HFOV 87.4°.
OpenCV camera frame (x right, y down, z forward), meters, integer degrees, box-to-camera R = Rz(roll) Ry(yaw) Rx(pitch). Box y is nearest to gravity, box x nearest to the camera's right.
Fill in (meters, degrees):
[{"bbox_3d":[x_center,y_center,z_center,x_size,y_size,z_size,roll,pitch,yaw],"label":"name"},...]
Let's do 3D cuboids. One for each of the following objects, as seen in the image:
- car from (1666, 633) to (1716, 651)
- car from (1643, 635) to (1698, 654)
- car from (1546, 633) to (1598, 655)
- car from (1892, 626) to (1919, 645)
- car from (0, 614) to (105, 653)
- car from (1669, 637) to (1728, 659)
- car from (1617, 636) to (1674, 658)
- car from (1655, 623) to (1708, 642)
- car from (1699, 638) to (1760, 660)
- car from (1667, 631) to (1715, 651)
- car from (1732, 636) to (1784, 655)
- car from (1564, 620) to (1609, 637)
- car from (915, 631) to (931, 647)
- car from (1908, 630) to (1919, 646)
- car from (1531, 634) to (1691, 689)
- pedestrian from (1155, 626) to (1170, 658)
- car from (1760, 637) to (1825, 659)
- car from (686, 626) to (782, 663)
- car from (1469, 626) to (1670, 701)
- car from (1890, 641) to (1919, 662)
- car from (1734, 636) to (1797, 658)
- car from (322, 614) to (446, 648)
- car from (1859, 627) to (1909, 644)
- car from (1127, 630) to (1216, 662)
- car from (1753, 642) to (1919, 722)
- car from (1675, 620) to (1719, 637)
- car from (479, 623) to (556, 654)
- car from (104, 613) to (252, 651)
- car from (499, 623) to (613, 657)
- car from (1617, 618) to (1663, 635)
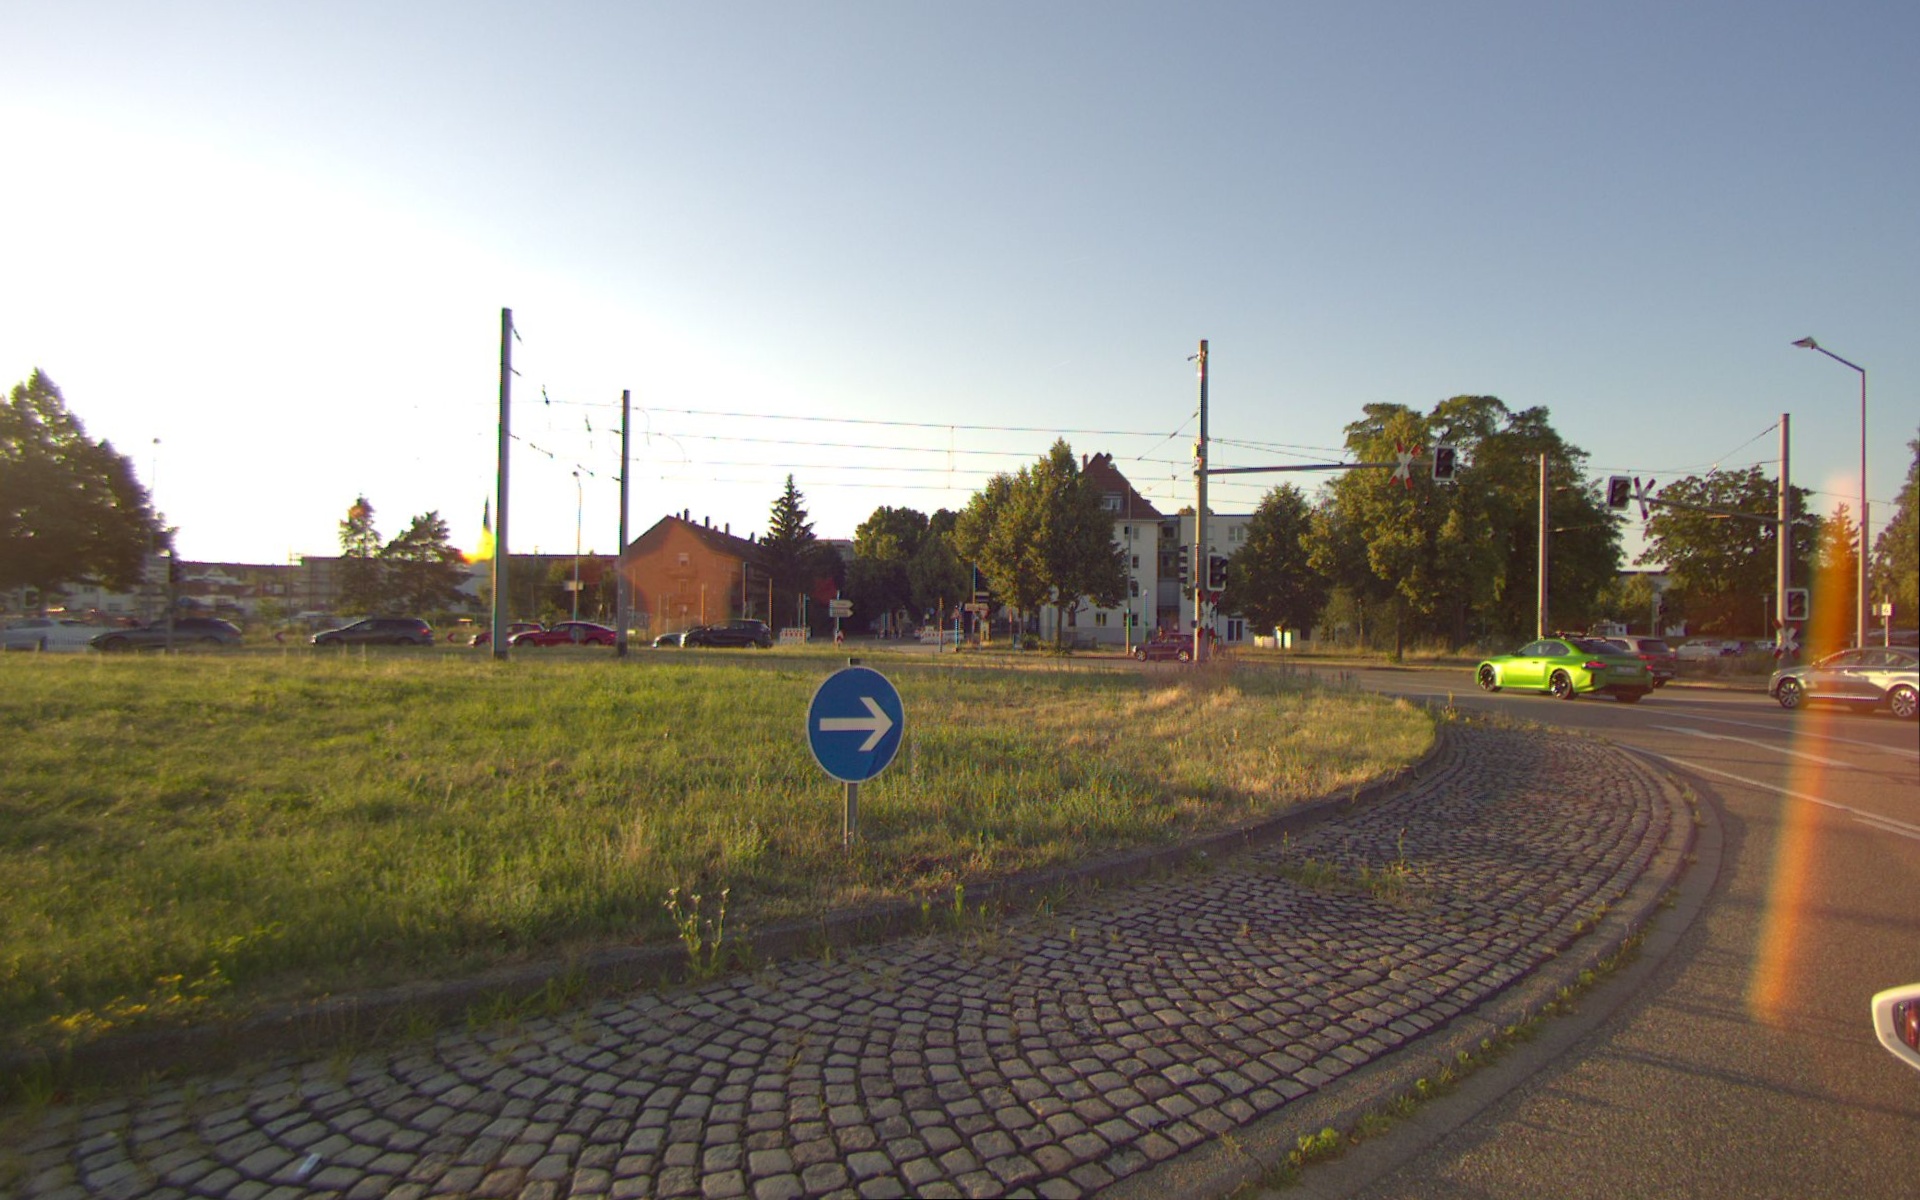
[{"bbox_3d":[73.164,4.186,100.571,3.934,1.684,1.994,0,-1,35],"label":"car"},{"bbox_3d":[69.213,4.328,97.927,3.919,1.684,1.904,1,-1,5],"label":"car"},{"bbox_3d":[49.416,3.543,81.225,1.960,1.625,4.002,1,-1,3],"label":"car"},{"bbox_3d":[107.455,4.025,112.590,3.919,2.040,2.001,1,-1,11],"label":"car"},{"bbox_3d":[-43.864,1.577,47.838,4.622,1.728,2.000,1,-1,1],"label":"car"},{"bbox_3d":[59.517,3.848,81.034,1.960,1.625,4.002,1,-1,3],"label":"car"},{"bbox_3d":[54.758,3.700,80.333,1.960,1.625,4.002,1,-1,3],"label":"car"},{"bbox_3d":[80.232,3.644,111.735,4.507,2.040,2.000,1,-1,0],"label":"car"},{"bbox_3d":[61.636,3.909,80.556,1.960,1.625,4.002,1,-1,3],"label":"car"},{"bbox_3d":[75.784,4.227,104.234,3.934,2.040,1.994,0,-1,35],"label":"car"},{"bbox_3d":[77.349,4.416,97.409,3.938,1.684,1.894,0,-1,39],"label":"car"},{"bbox_3d":[79.583,3.650,127.618,4.507,2.040,2.000,1,-1,0],"label":"car"},{"bbox_3d":[-4.565,4.829,124.346,1.961,1.840,3.999,1,-1,-2],"label":"car"},{"bbox_3d":[105.587,4.108,108.713,1.971,1.728,3.979,1,-1,-22],"label":"car"},{"bbox_3d":[21.984,2.028,34.174,1.965,1.659,4.515,1,-1,-12],"label":"car"},{"bbox_3d":[12.397,2.554,61.520,0.614,1.918,0.662,2,0,-35],"label":"pedestrian"},{"bbox_3d":[66.370,3.786,80.165,1.960,1.625,4.002,1,-1,3],"label":"car"},{"bbox_3d":[-10.253,2.014,45.865,3.921,1.605,1.896,1,-1,0],"label":"car"},{"bbox_3d":[14.623,1.471,24.465,1.962,1.600,4.483,1,-1,-4],"label":"car"},{"bbox_3d":[76.354,4.085,79.469,1.960,1.625,4.002,1,-1,3],"label":"car"},{"bbox_3d":[64.017,3.714,79.926,1.960,1.625,4.002,1,-1,3],"label":"car"},{"bbox_3d":[-24.301,1.317,42.569,4.323,1.394,1.989,1,-1,-24],"label":"car"},{"bbox_3d":[108.035,4.125,117.441,3.919,1.840,2.001,1,-1,5],"label":"car"},{"bbox_3d":[10.379,2.292,49.481,3.944,1.372,1.685,-4,0,43],"label":"car"},{"bbox_3d":[19.684,1.694,21.434,1.849,1.483,4.671,1,-1,0],"label":"car"},{"bbox_3d":[93.208,3.587,127.025,4.033,2.040,2.001,1,-1,4],"label":"car"},{"bbox_3d":[-22.813,1.976,51.925,3.433,1.519,1.637,1,-1,-16],"label":"car"},{"bbox_3d":[-30.665,1.259,39.568,4.299,1.394,1.985,1,-1,-29],"label":"car"},{"bbox_3d":[-17.955,1.776,44.860,4.418,1.410,1.891,1,-1,-12],"label":"car"},{"bbox_3d":[86.258,3.381,127.434,4.505,2.040,2.001,1,-1,5],"label":"car"}]
